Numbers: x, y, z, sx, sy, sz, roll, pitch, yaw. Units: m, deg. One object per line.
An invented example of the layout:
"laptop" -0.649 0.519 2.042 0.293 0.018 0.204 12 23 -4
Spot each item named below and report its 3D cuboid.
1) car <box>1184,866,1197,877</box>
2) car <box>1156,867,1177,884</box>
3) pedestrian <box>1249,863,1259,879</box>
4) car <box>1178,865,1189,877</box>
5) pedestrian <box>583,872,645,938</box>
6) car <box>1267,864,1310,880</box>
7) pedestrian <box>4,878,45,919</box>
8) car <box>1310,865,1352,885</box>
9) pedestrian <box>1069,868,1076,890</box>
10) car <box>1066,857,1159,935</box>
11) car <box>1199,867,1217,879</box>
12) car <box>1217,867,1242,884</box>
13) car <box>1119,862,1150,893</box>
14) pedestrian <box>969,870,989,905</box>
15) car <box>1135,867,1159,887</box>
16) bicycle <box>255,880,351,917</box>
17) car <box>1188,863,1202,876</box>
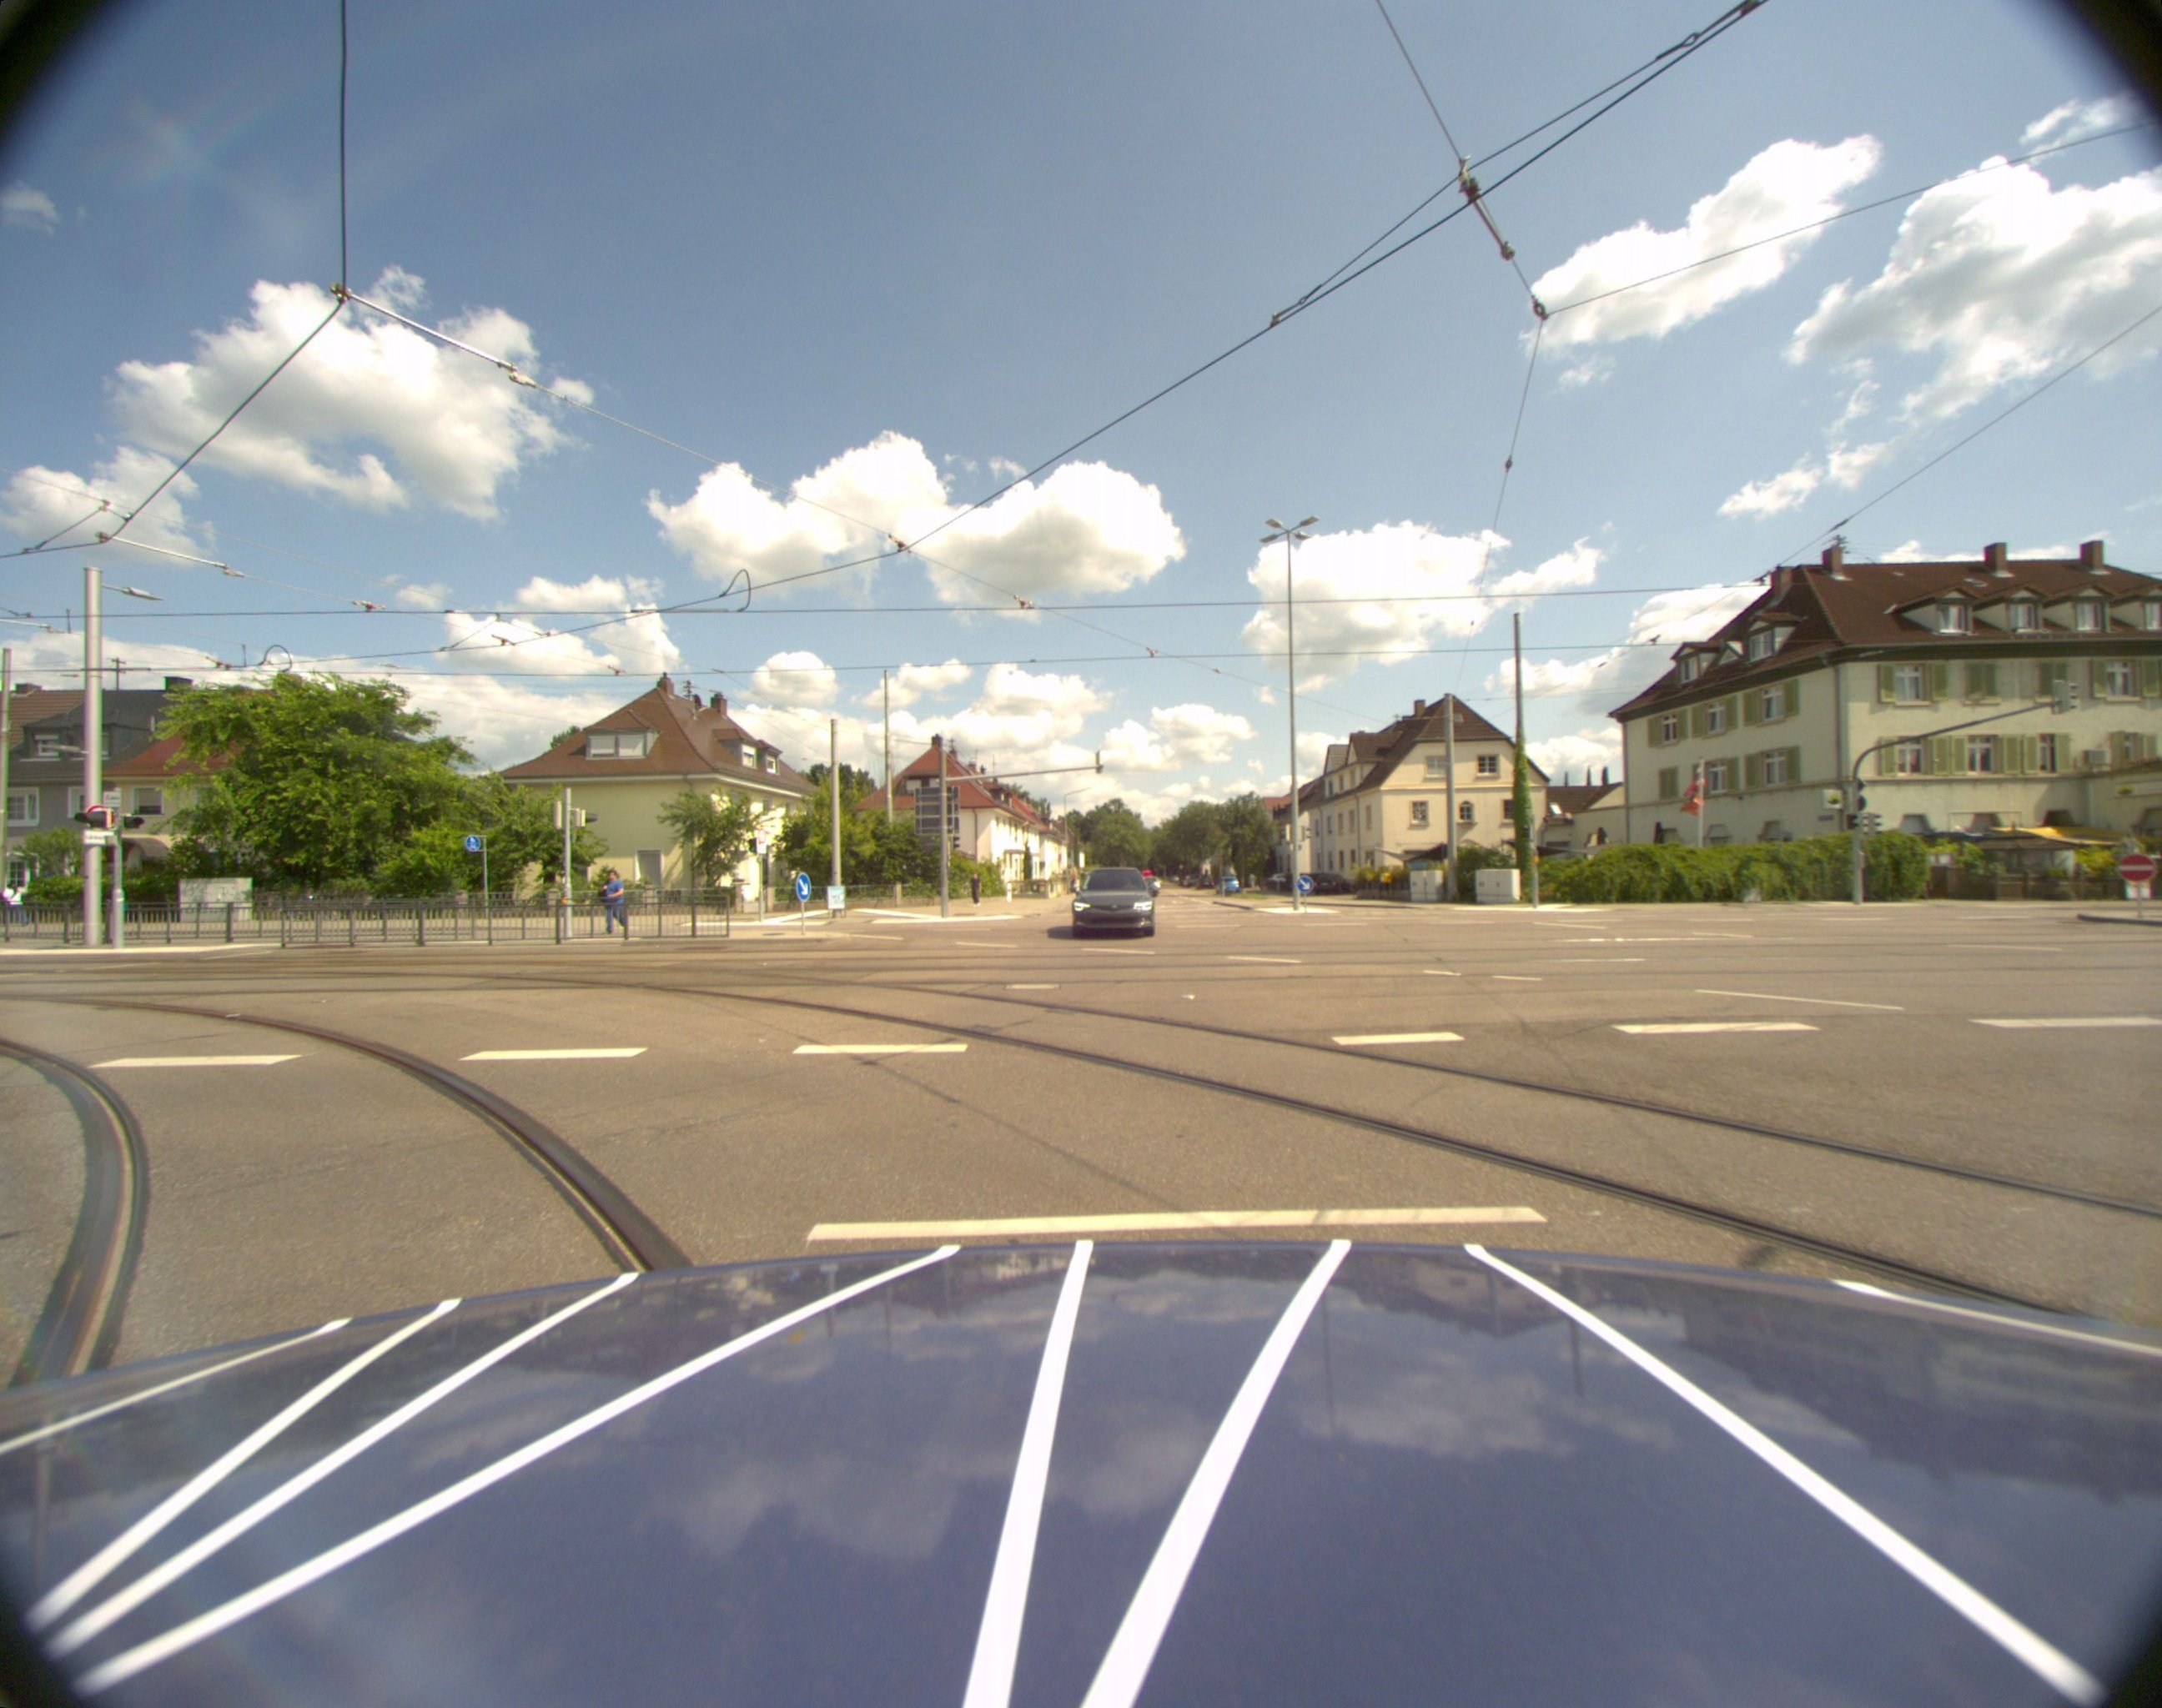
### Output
"car" 14.807 2.357 102.631 1.623 1.416 3.004 -2 -1 9
"car" 7.620 1.927 68.117 1.709 1.453 3.156 -1 -1 4
"pedestrian" 16.964 1.694 74.495 0.633 1.526 0.617 -1 0 -16
"car" 15.017 2.515 111.676 1.561 1.645 3.253 -1 -1 7
"pedestrian" -12.688 1.369 20.692 1.032 1.724 1.041 -1 -1 0
"car" 20.032 1.714 73.490 3.804 1.445 1.712 -1 -1 7
"pedestrian" -37.815 1.599 27.204 0.514 1.424 0.688 -1 0 11
"car" 17.777 1.461 53.974 1.757 1.378 4.111 -1 -1 33
"pedestrian" -0.677 1.992 60.694 0.518 1.701 0.618 -1 0 5
"car" 0.675 0.846 16.996 1.766 1.465 4.688 -1 -1 2
"car" 13.766 2.037 82.704 1.708 1.288 3.920 -1 -1 7
"car" 12.636 1.816 64.871 1.709 1.453 3.156 -1 -1 3
"car" 3.293 1.394 47.032 1.775 1.754 4.876 -1 0 4
"pedestrian" -5.200 1.713 38.863 0.591 1.757 0.939 0 -1 24
"car" 4.999 1.752 57.930 1.709 1.453 3.156 -1 -1 3
"bicycle" -29.262 1.663 28.587 2.801 1.326 0.623 -1 0 -4
"car" 14.457 1.990 96.607 1.561 1.645 3.576 -1 -1 7
